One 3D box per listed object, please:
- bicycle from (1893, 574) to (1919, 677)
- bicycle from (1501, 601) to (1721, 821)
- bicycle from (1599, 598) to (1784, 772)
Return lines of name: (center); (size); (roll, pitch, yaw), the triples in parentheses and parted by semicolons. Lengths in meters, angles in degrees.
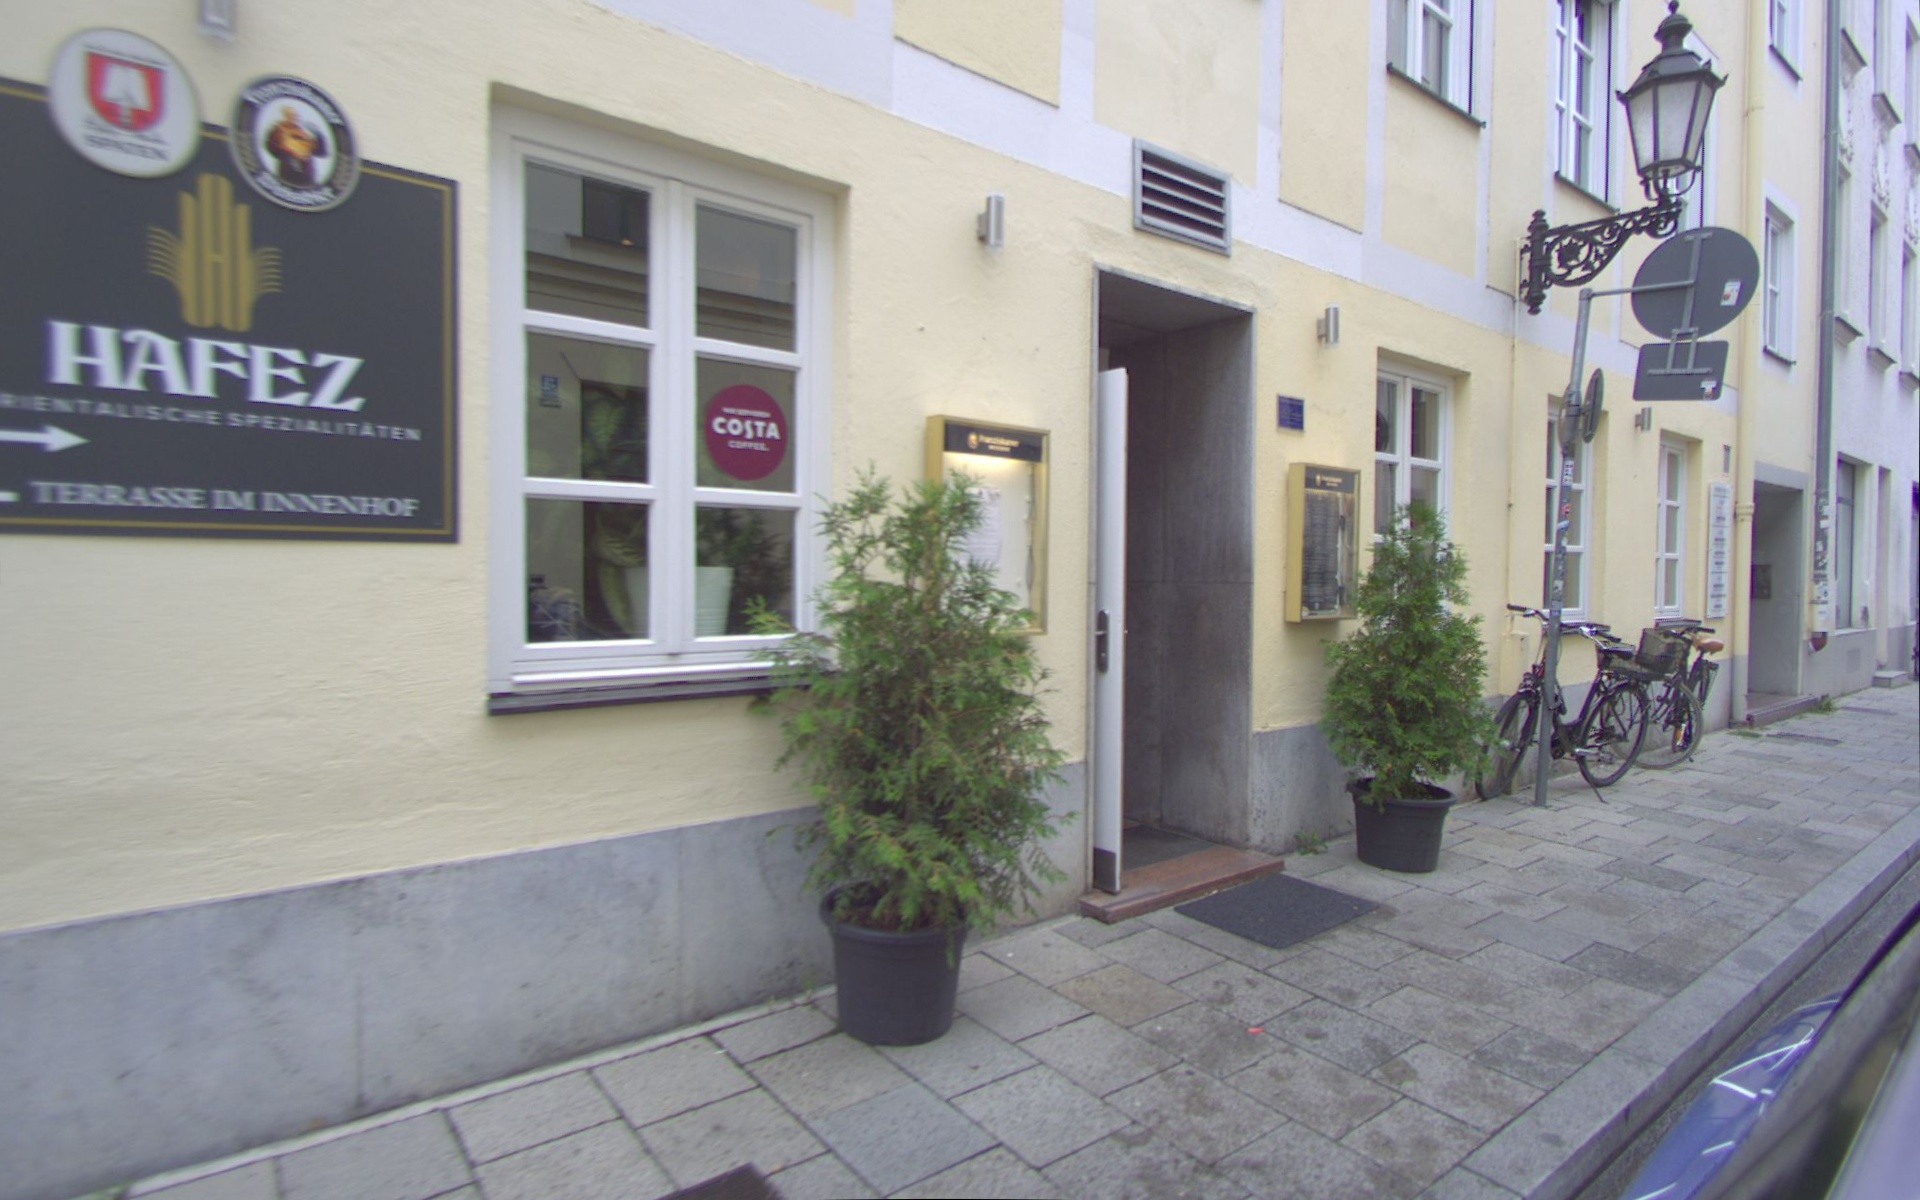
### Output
bicycle: (14.176, 0.365, 14.510); (2.082, 1.413, 0.716); (0, 4, -36)
bicycle: (4.050, 0.609, 6.251); (1.653, 1.150, 0.567); (0, 4, -38)
bicycle: (5.647, 0.583, 7.767); (1.951, 1.150, 0.567); (0, 4, -38)
